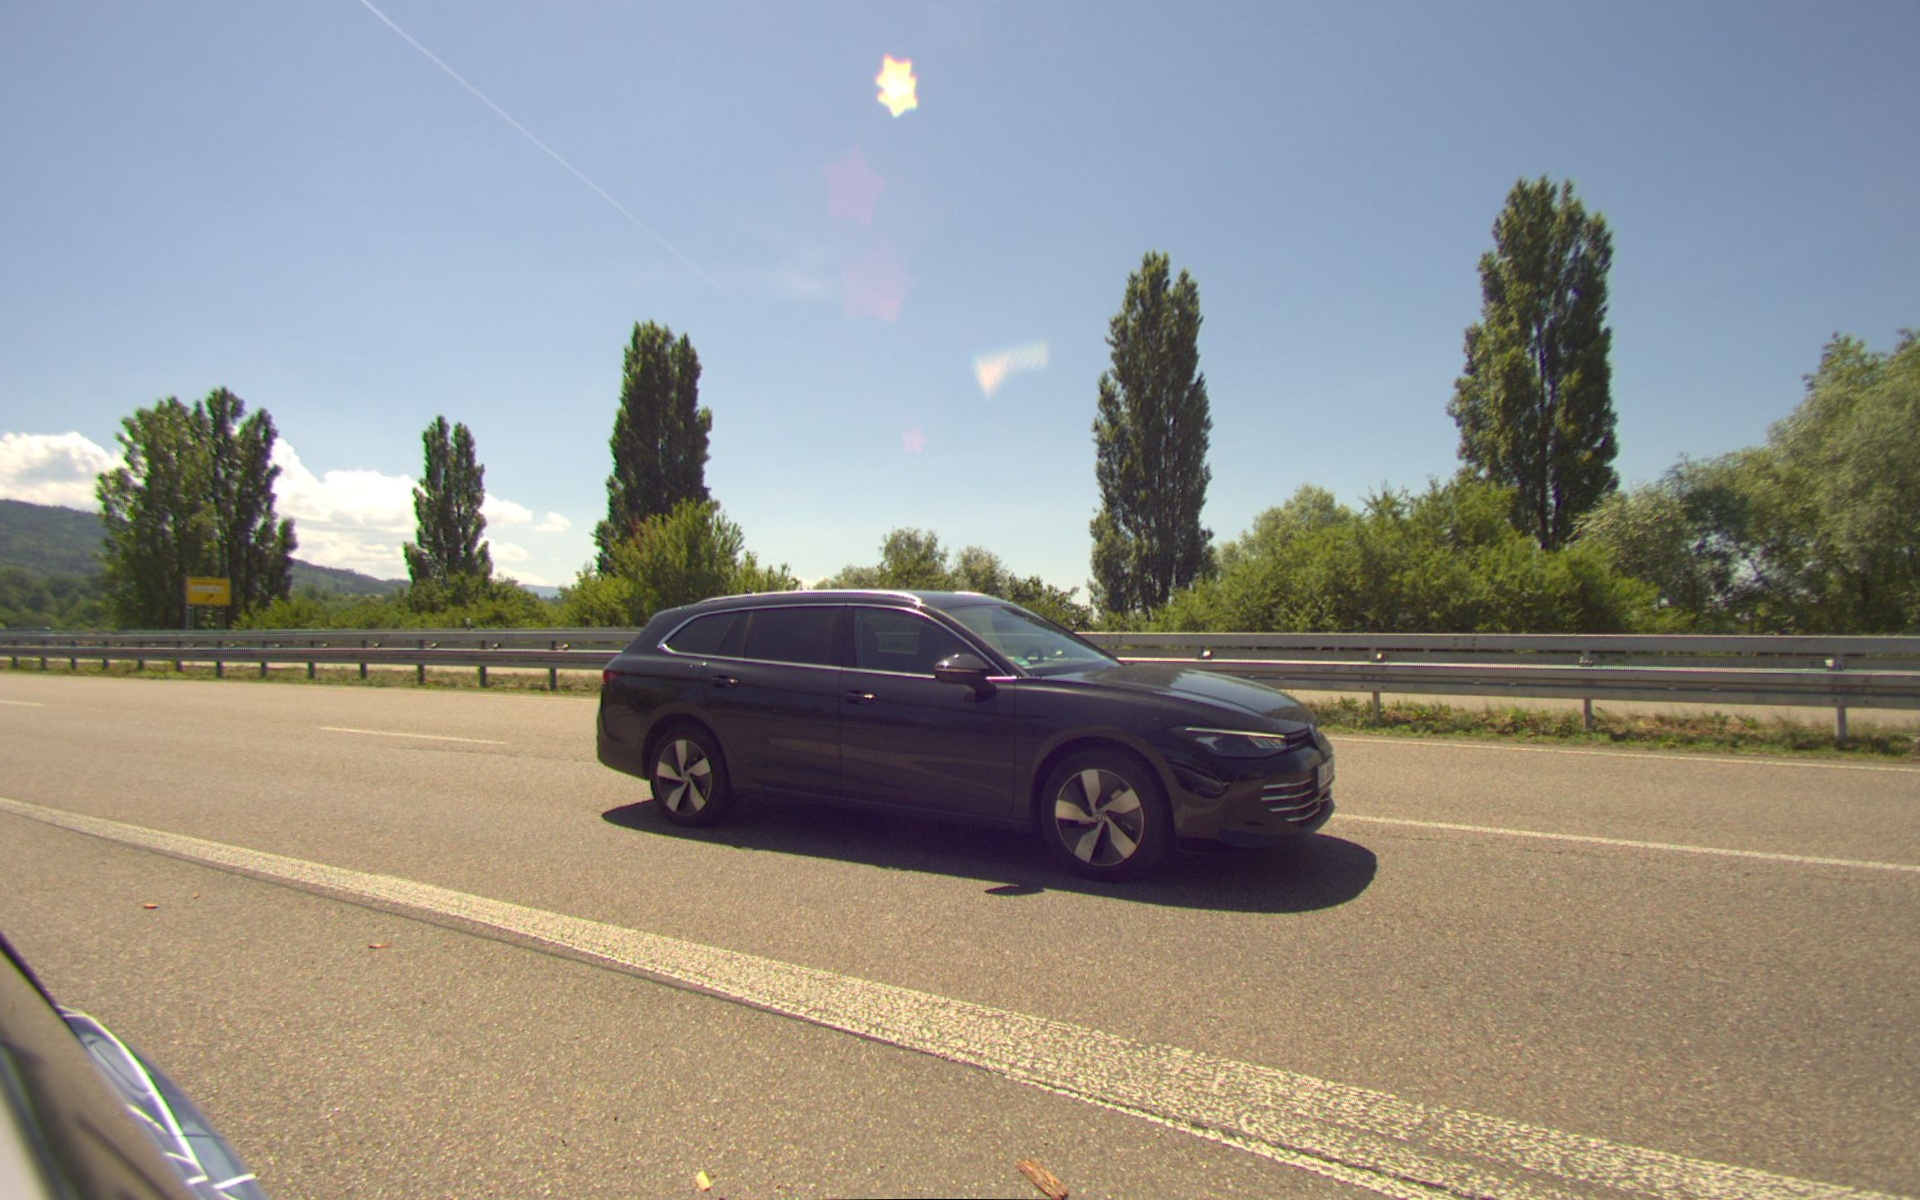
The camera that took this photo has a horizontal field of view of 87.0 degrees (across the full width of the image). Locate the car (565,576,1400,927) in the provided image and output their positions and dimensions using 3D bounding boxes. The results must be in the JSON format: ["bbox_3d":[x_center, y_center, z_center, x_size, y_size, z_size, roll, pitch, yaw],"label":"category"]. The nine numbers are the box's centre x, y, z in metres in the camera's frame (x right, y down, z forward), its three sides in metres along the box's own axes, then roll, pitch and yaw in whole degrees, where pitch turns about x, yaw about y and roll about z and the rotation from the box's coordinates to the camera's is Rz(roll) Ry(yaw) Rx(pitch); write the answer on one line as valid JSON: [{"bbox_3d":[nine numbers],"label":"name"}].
[{"bbox_3d":[-0.041,0.701,6.382,4.984,1.492,1.872,-2,-1,30],"label":"car"}]
